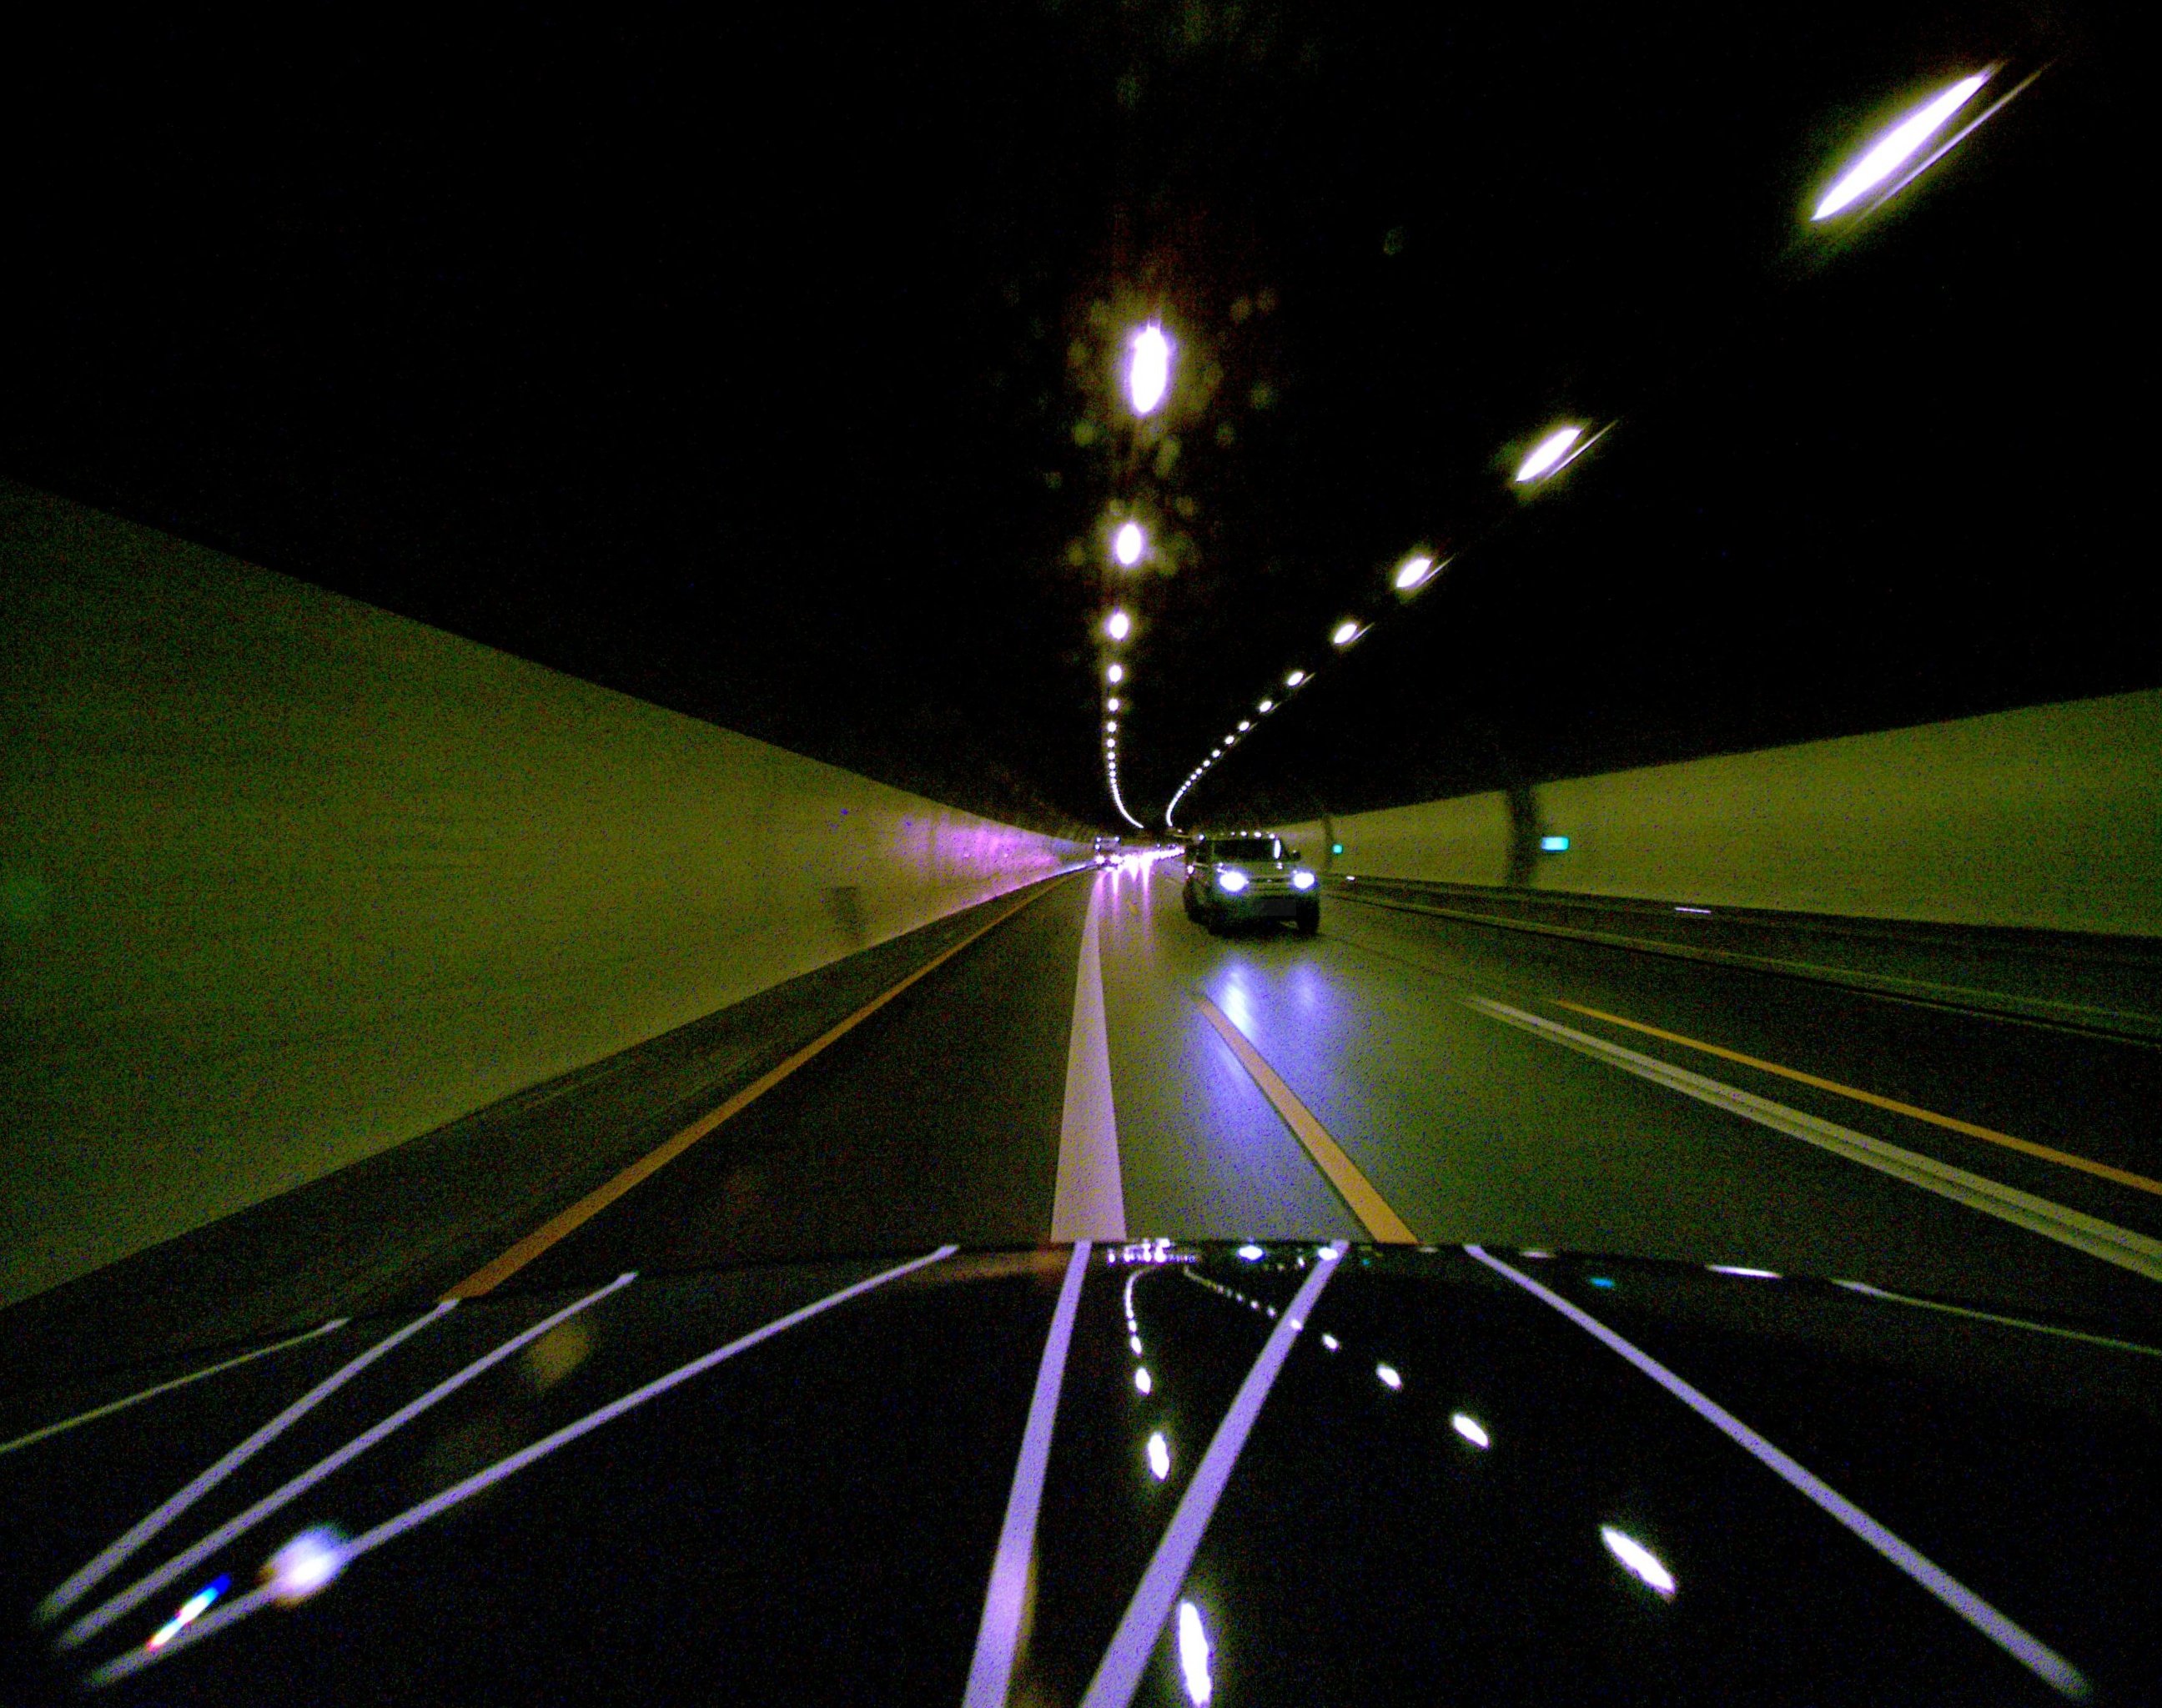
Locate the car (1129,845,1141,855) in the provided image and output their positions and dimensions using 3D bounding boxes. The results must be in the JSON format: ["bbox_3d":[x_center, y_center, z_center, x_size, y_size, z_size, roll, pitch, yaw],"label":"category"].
[{"bbox_3d":[11.225,-0.824,157.731,1.997,2.002,4.002,-3,0,8],"label":"car"}]

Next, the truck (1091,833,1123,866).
[{"bbox_3d":[2.857,-0.504,79.788,2.988,3.161,10.510,-3,0,4],"label":"truck"}]

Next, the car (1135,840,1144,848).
[{"bbox_3d":[13.561,-2.320,175.666,1.998,1.917,4.385,-3,0,3],"label":"car"}]

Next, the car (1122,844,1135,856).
[{"bbox_3d":[7.944,-0.675,128.074,1.998,2.002,4.000,-3,0,3],"label":"car"}]

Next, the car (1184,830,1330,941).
[{"bbox_3d":[3.408,0.522,15.841,1.998,1.884,5.454,-1,1,3],"label":"car"}]

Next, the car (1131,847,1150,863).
[{"bbox_3d":[7.149,0.103,91.095,2.171,1.709,4.483,-3,0,6],"label":"car"}]
